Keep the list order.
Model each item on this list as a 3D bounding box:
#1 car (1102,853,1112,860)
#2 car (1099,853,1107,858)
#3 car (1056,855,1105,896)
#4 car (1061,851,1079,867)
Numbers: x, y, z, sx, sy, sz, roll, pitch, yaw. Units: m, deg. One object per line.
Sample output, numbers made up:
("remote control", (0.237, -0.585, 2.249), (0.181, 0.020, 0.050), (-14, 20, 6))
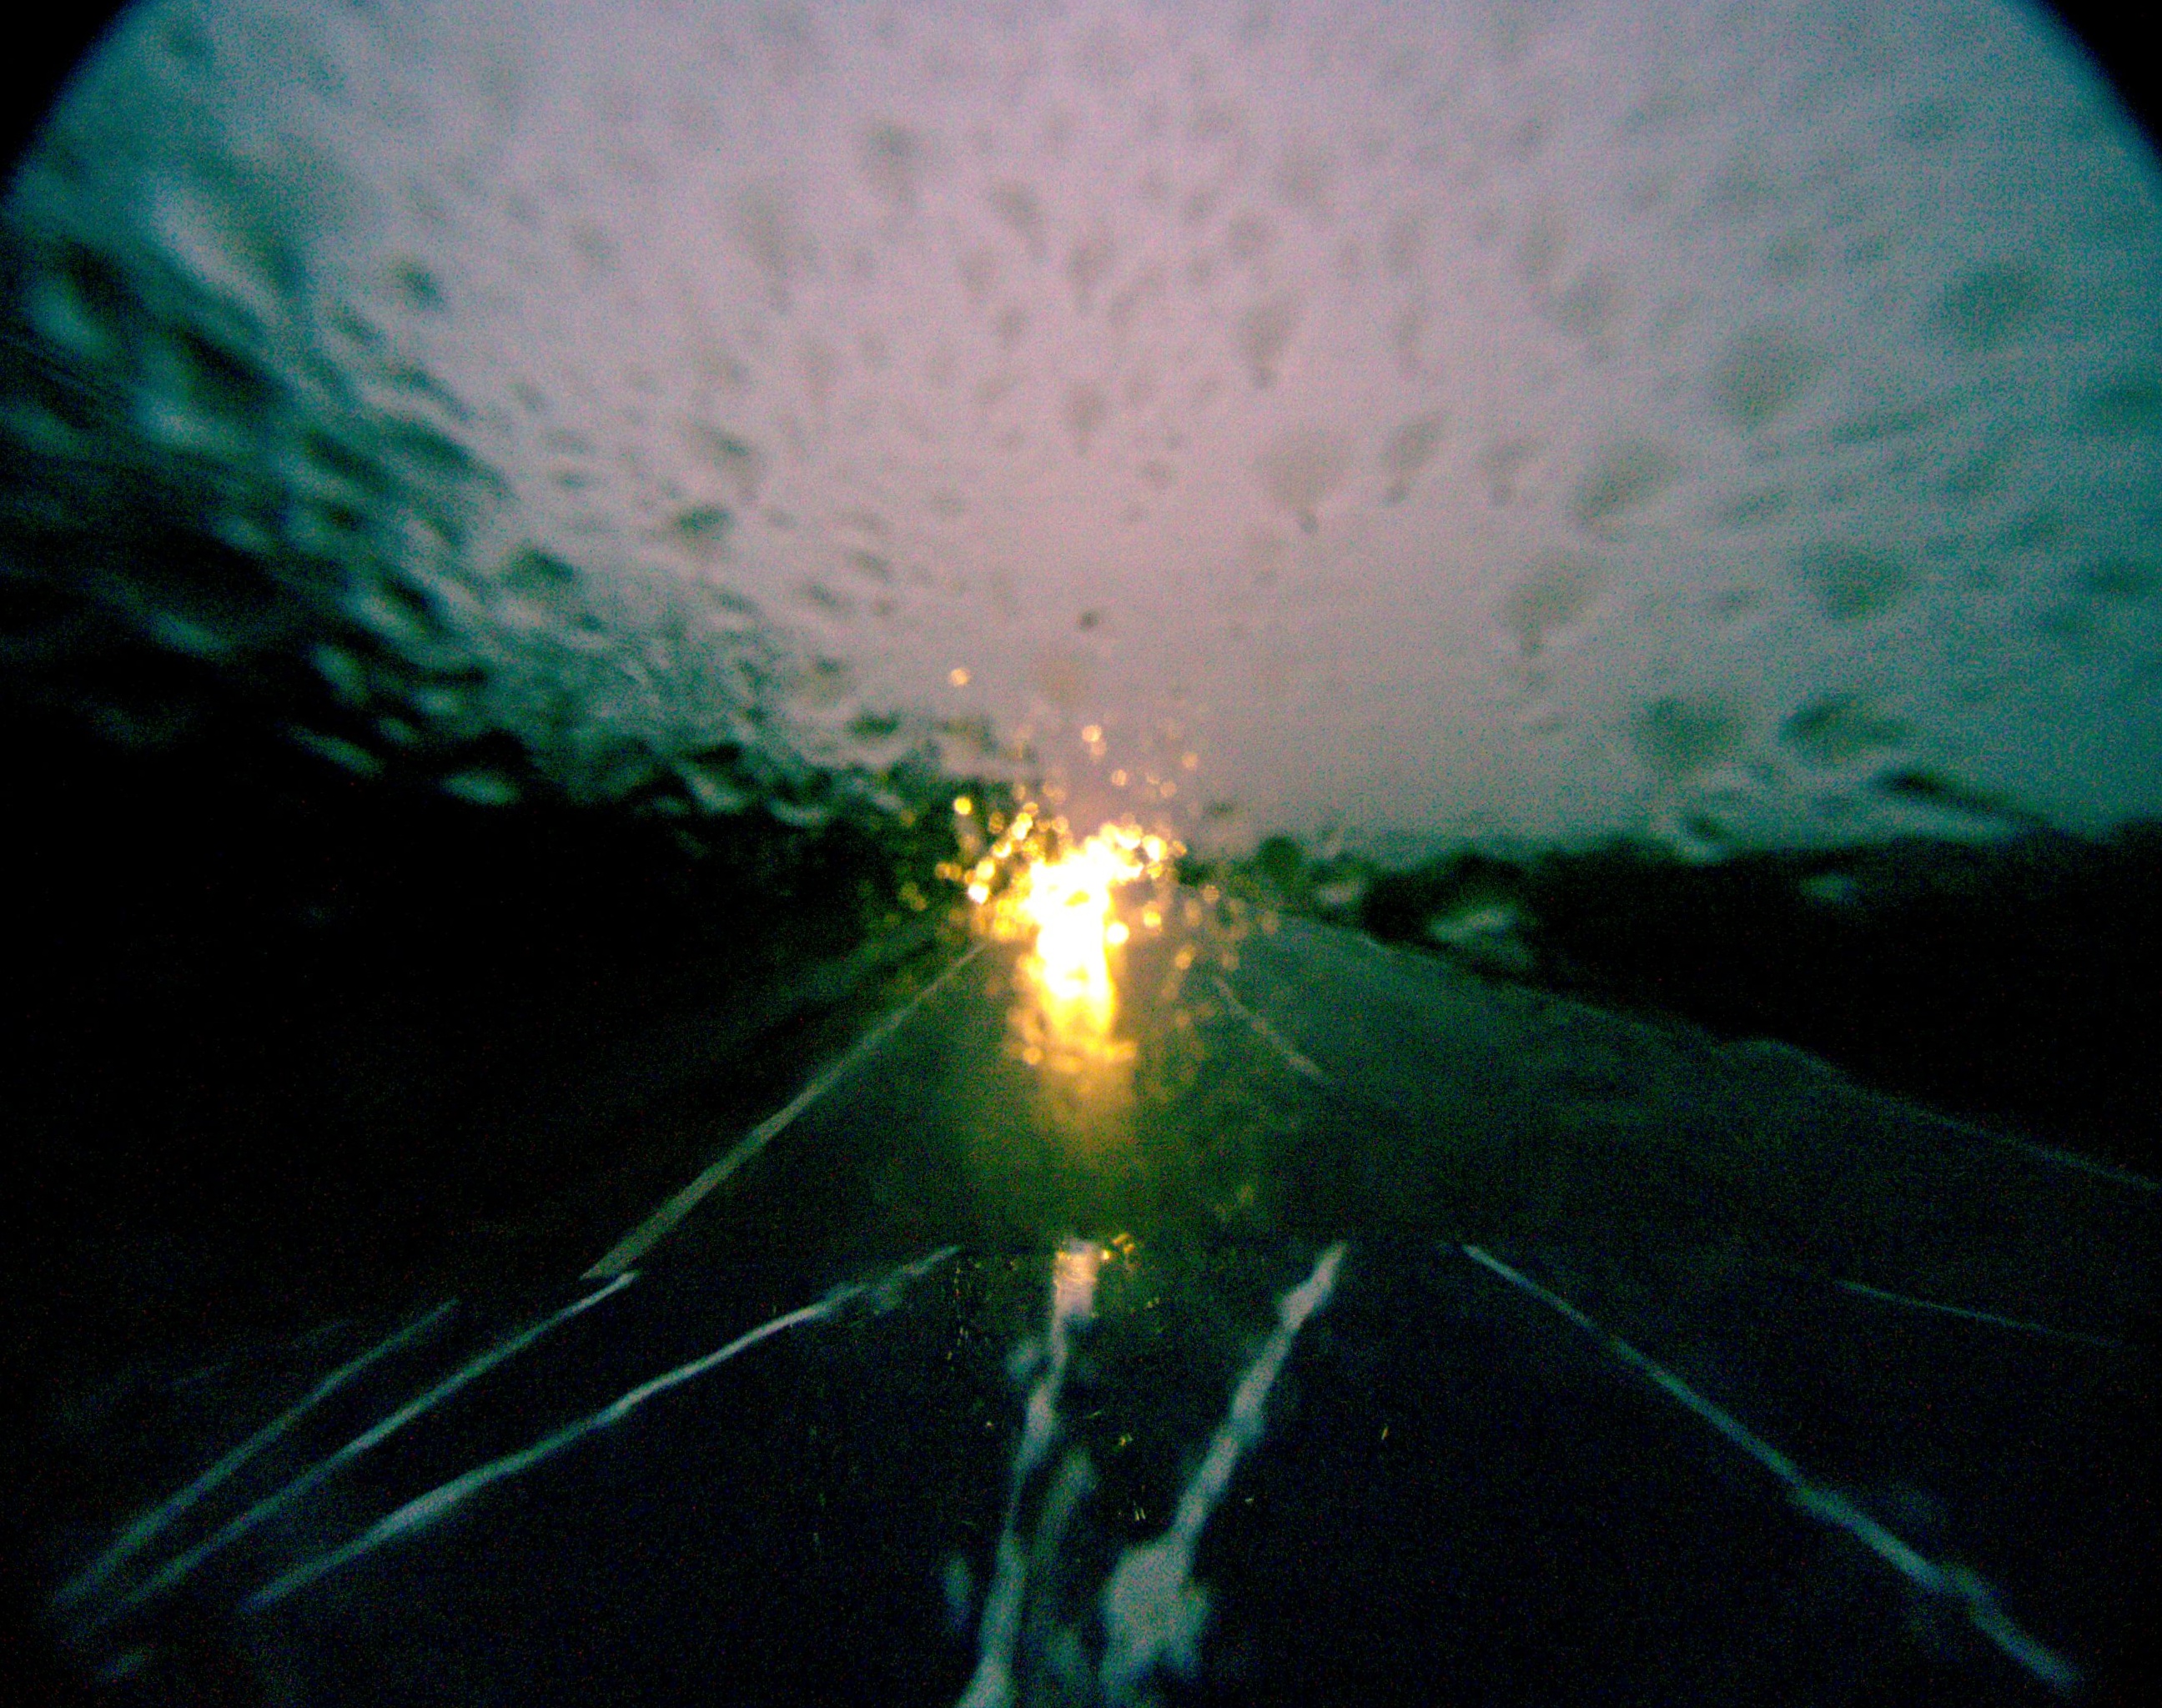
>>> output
("car", (5.766, 0.575, 170.145), (1.998, 1.455, 4.351), (3, 1, 1))
("car", (6.404, 0.439, 221.852), (1.998, 1.364, 4.397), (-2, 1, 1))
("car", (-0.003, 0.846, 31.436), (1.844, 1.484, 3.956), (-2, 1, 0))
("car", (-1.222, 0.538, 88.332), (1.933, 1.740, 4.000), (-2, 1, 1))
